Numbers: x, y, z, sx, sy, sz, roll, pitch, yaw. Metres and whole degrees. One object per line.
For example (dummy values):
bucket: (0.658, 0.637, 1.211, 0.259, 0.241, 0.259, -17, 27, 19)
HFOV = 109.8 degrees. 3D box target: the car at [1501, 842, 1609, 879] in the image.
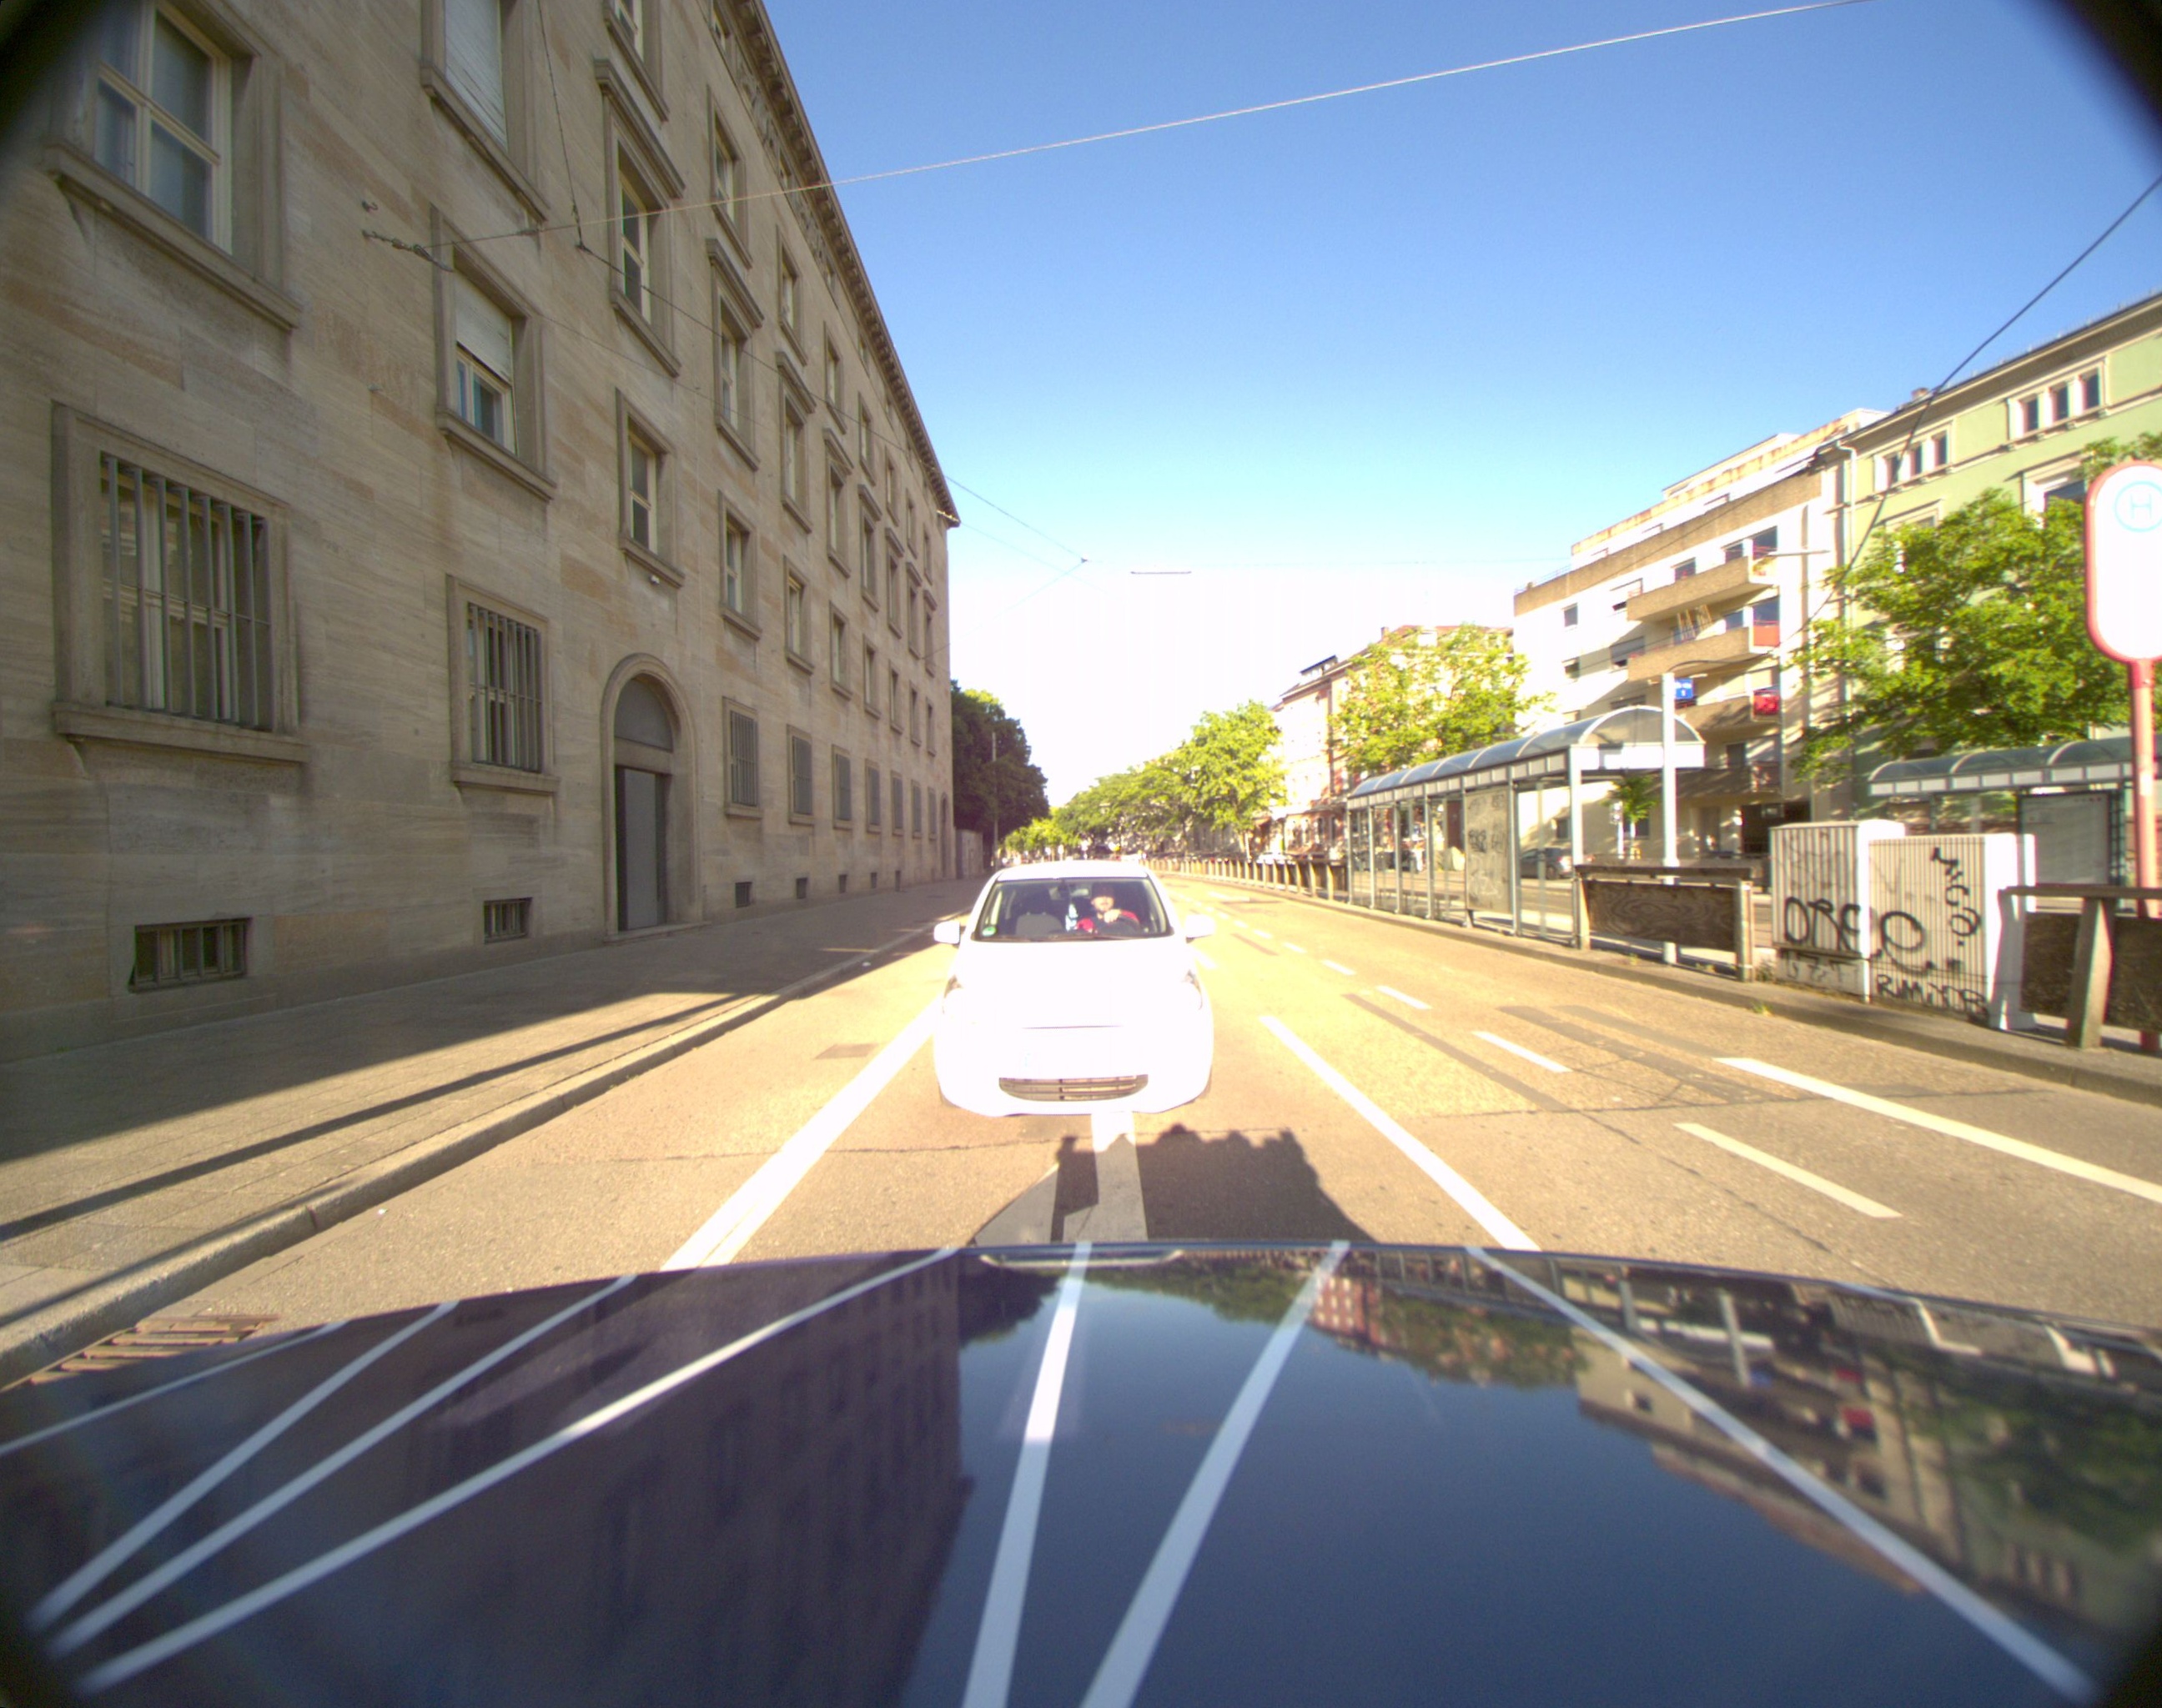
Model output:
car: (21.090, 0.281, 34.019, 2.000, 1.521, 3.997, -1, 0, -8)

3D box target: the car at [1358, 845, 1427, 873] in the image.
car: (18.290, 0.290, 44.821, 2.000, 1.521, 3.997, -1, 0, -8)

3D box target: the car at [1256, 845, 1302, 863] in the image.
car: (16.517, -0.011, 63.285, 3.648, 1.342, 1.578, -2, 1, -29)

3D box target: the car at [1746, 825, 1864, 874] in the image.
car: (31.343, -0.186, 32.930, 4.001, 2.002, 1.798, -1, 1, -13)

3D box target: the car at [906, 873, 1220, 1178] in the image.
car: (-0.071, 0.948, 5.782, 1.606, 1.455, 3.621, -1, 0, 1)
